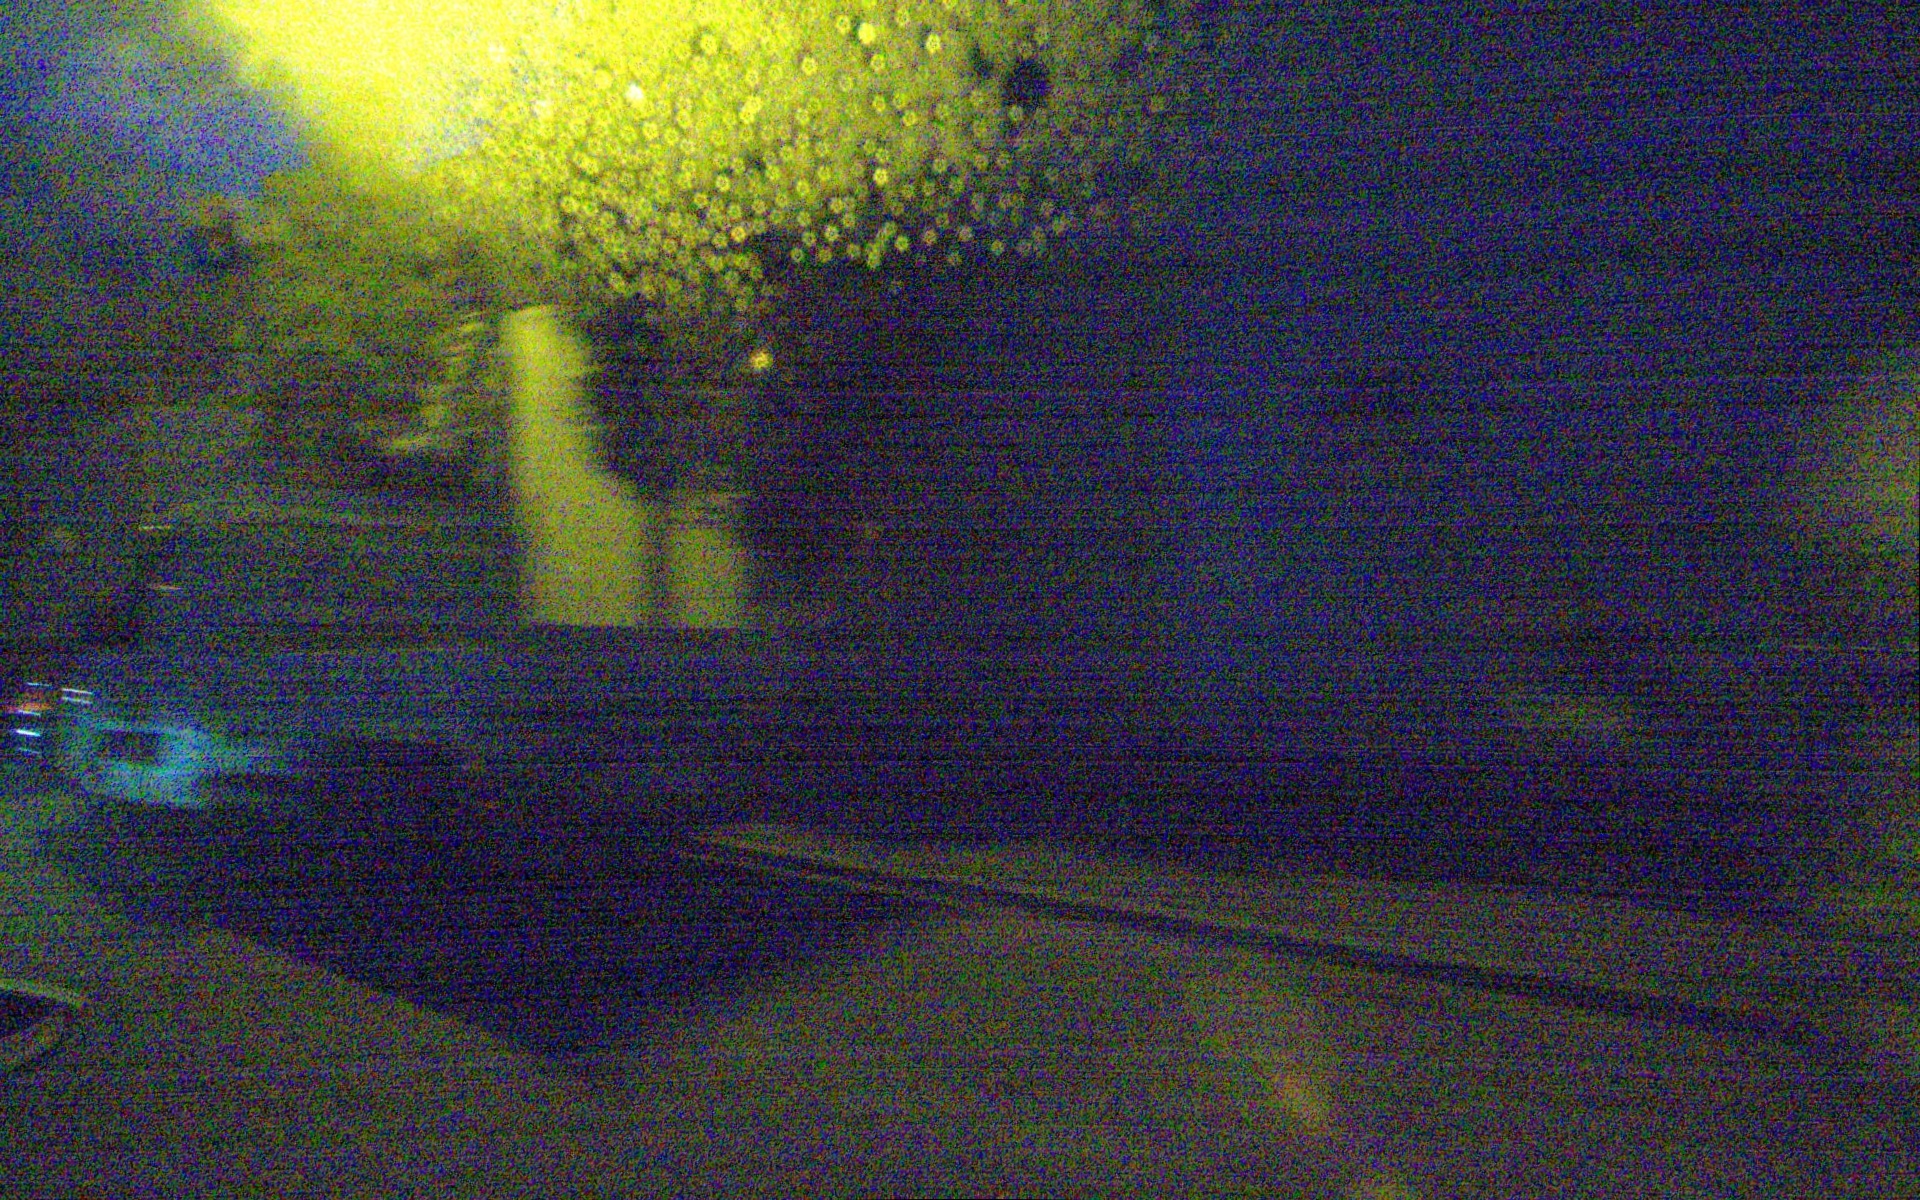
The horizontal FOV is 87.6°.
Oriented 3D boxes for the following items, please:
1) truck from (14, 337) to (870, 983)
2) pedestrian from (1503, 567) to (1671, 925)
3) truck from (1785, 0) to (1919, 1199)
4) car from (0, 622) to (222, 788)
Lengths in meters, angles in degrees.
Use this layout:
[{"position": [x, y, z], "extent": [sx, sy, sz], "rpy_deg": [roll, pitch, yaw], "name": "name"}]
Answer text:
[{"position": [-3.905, 0.288, 6.886], "extent": [6.505, 2.628, 2.396], "rpy_deg": [0, -1, 34], "name": "truck"}, {"position": [3.169, 0.685, 5.090], "extent": [0.679, 1.671, 0.573], "rpy_deg": [-1, 1, 32], "name": "pedestrian"}, {"position": [4.506, -0.248, 1.141], "extent": [5.155, 3.811, 2.760], "rpy_deg": [-1, -2, 33], "name": "truck"}, {"position": [-9.924, 0.968, 10.544], "extent": [4.838, 1.425, 1.827], "rpy_deg": [-1, -3, 33], "name": "car"}]
